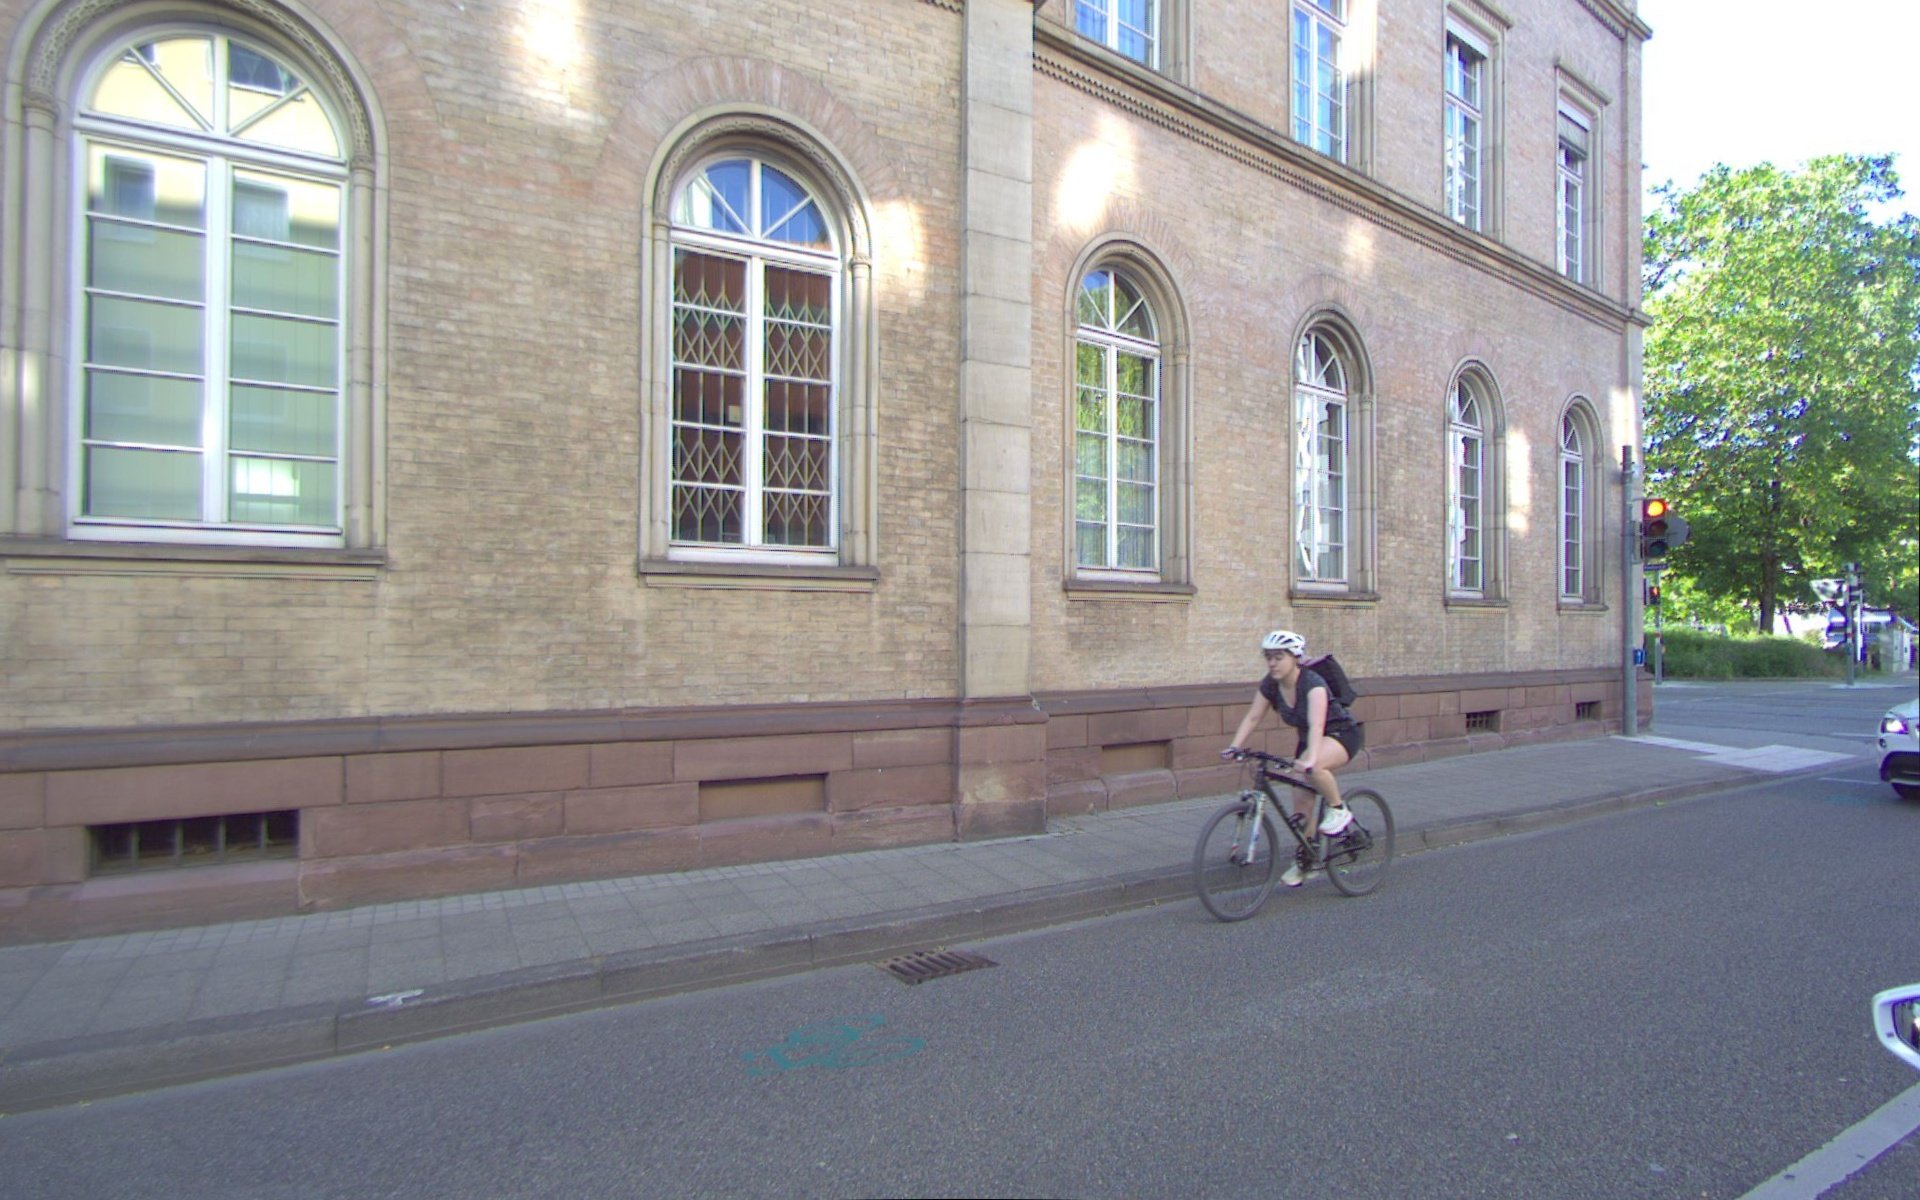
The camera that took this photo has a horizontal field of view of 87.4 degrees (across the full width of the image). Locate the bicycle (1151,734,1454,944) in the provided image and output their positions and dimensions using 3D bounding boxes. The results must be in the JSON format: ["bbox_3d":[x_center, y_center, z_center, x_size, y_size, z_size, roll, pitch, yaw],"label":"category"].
[{"bbox_3d":[2.017,1.314,5.864,1.746,0.936,0.682,1,-4,-30],"label":"bicycle"}]

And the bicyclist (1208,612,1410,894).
[{"bbox_3d":[2.032,0.841,5.878,0.861,1.495,0.682,1,-4,-30],"label":"bicyclist"}]

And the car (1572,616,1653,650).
[{"bbox_3d":[47.831,2.478,73.724,2.056,2.423,4.521,2,-3,-38],"label":"car"}]

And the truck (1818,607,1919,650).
[{"bbox_3d":[53.757,1.670,59.071,2.069,2.431,4.790,1,-1,-39],"label":"truck"}]

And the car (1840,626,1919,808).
[{"bbox_3d":[10.554,1.023,9.234,4.205,1.603,1.686,0,-3,-17],"label":"car"}]
